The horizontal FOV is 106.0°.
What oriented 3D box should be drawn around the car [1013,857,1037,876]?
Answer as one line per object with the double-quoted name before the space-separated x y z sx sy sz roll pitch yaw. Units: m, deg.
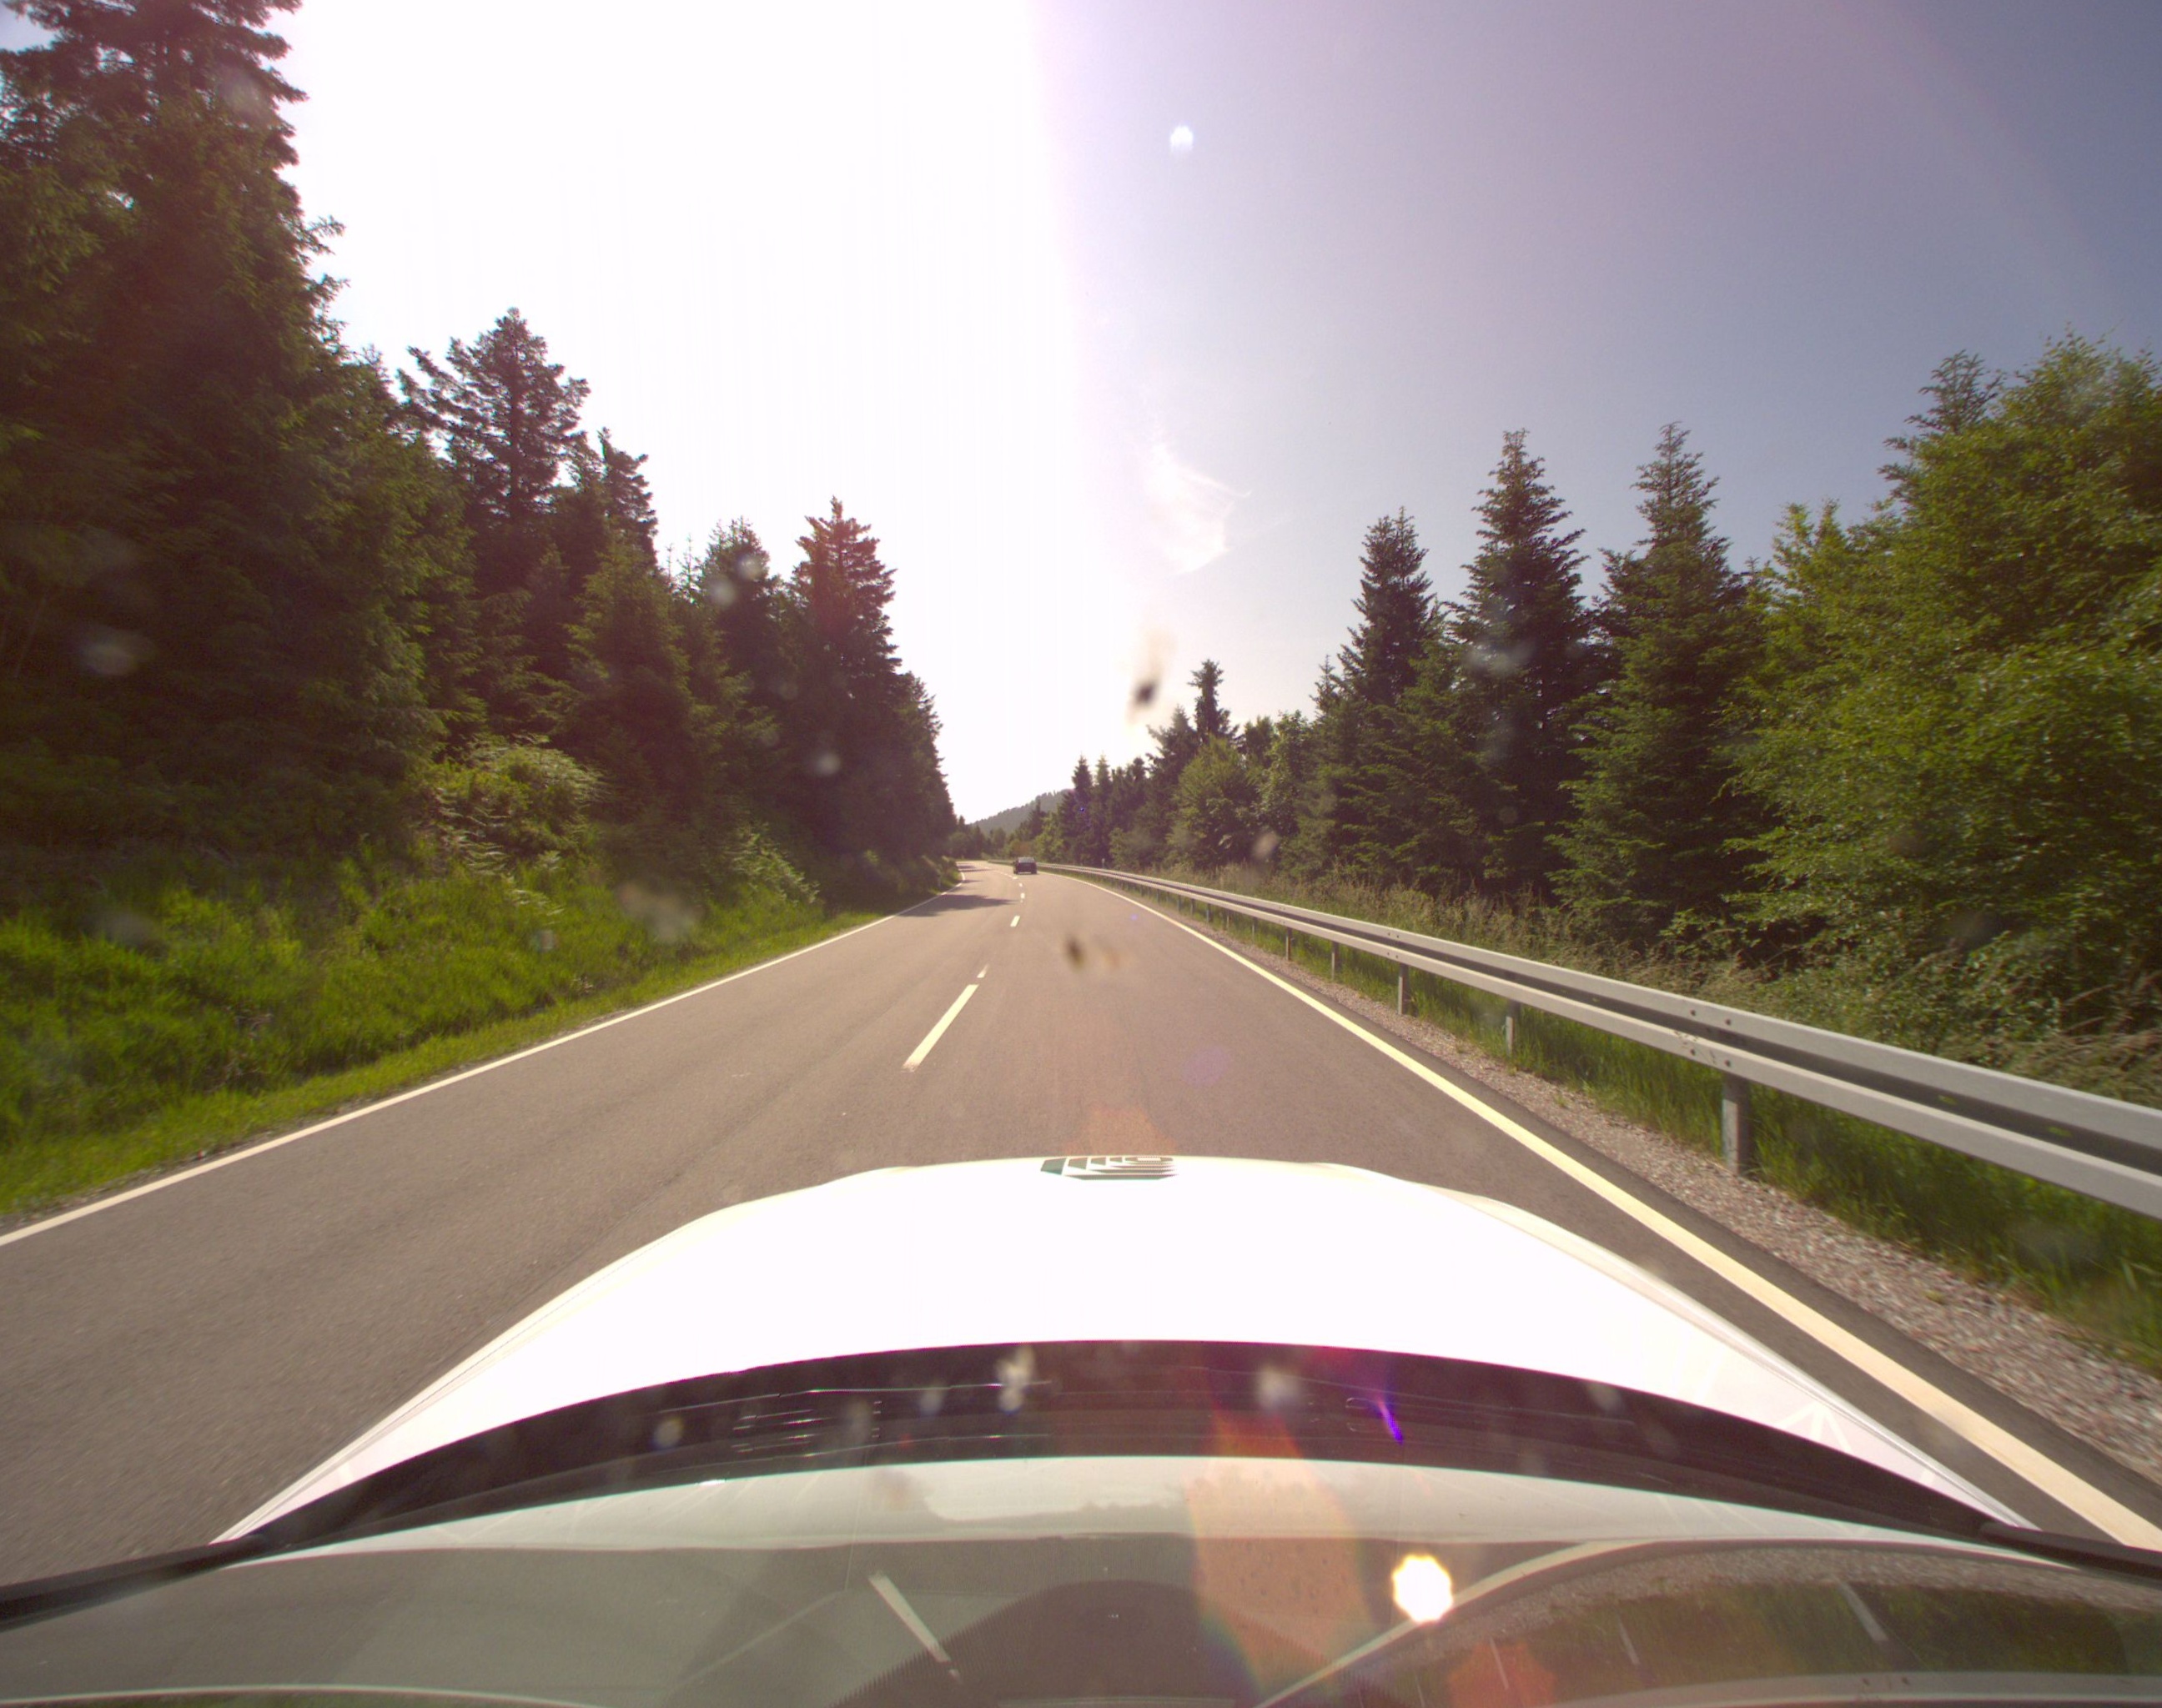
"car" -4.760 1.049 69.214 1.775 1.442 3.699 -2 0 -8
